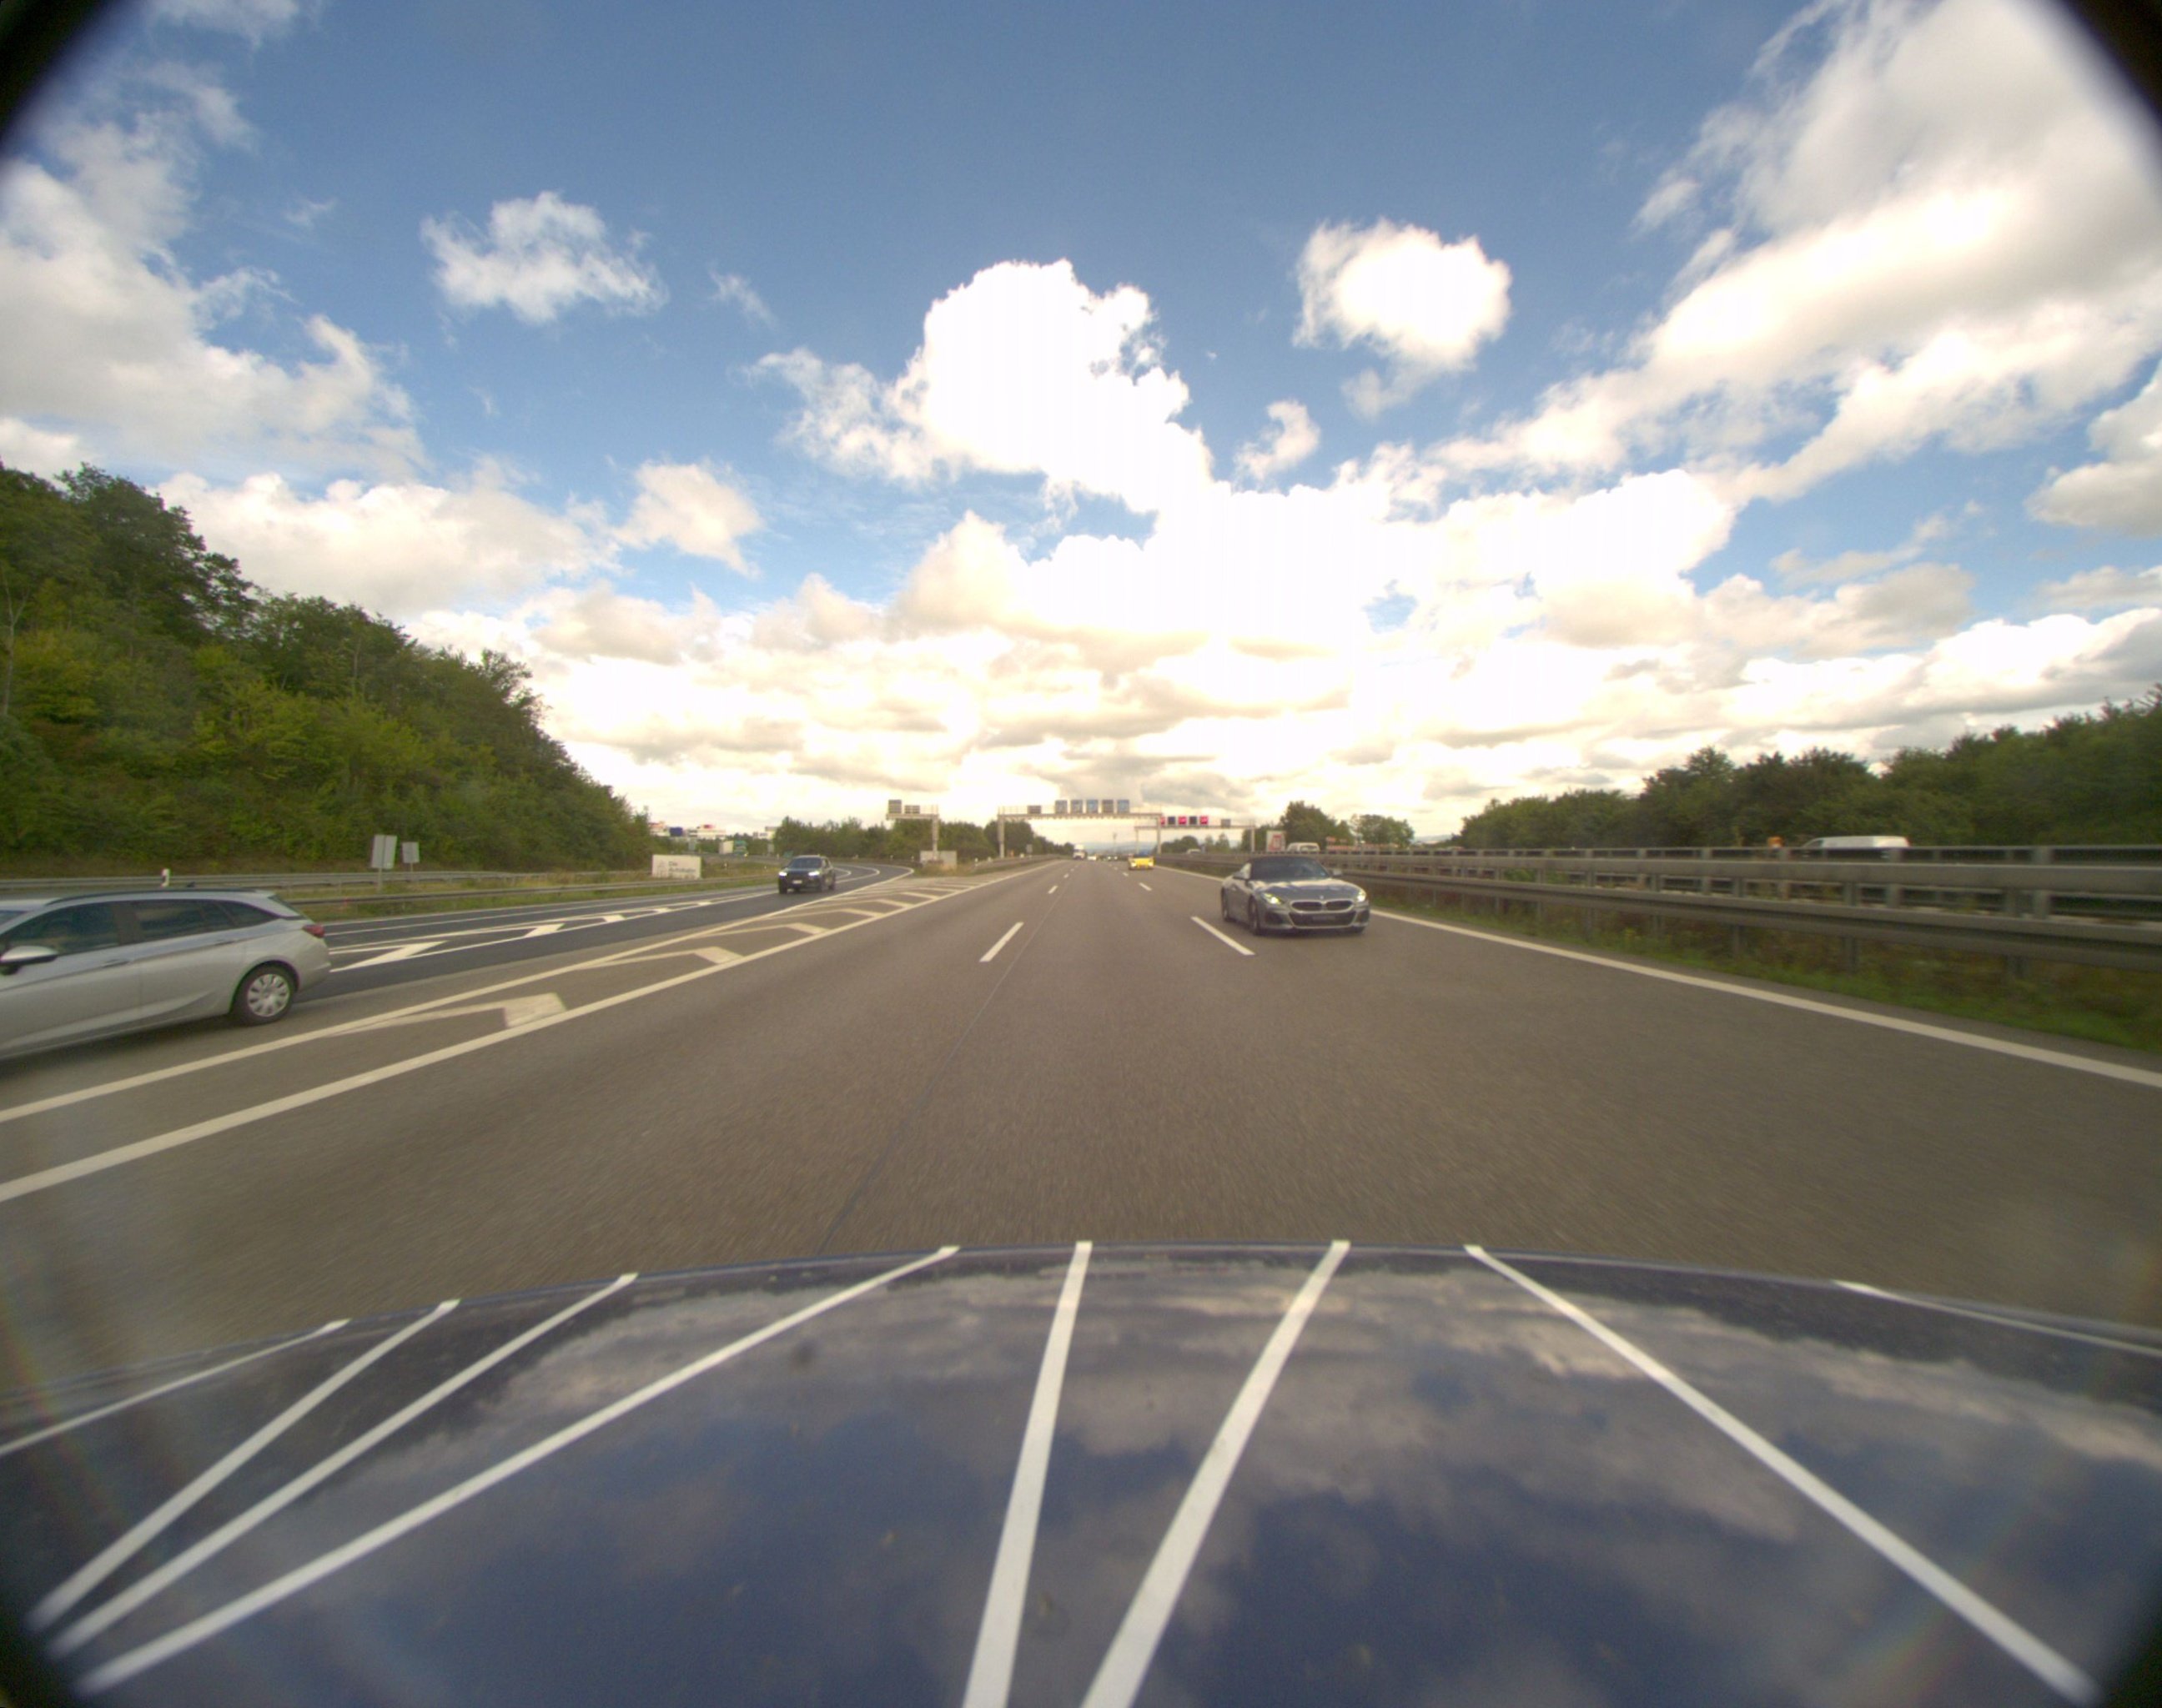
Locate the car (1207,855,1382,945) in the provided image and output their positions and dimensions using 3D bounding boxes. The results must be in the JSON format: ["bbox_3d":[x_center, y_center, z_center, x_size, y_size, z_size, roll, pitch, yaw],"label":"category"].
[{"bbox_3d":[3.714,0.713,14.223,1.878,1.295,4.941,-2,1,0],"label":"car"}]

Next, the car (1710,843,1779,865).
[{"bbox_3d":[43.973,-0.023,50.446,1.545,1.338,3.647,-1,1,4],"label":"car"}]

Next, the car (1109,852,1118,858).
[{"bbox_3d":[6.614,0.183,155.557,1.593,1.307,3.977,0,1,0],"label":"car"}]

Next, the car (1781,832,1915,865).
[{"bbox_3d":[38.704,-0.284,38.572,1.775,1.568,5.011,-1,0,0],"label":"car"}]

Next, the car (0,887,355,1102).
[{"bbox_3d":[-9.151,1.166,6.507,1.688,1.476,4.613,-2,1,-5],"label":"car"}]

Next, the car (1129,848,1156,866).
[{"bbox_3d":[4.879,0.225,60.387,1.811,1.307,4.247,0,1,0],"label":"car"}]

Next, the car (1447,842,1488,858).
[{"bbox_3d":[39.546,-0.420,77.941,1.815,1.626,5.008,-1,0,2],"label":"car"}]

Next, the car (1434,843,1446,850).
[{"bbox_3d":[76.463,-1.597,161.897,1.542,1.338,3.833,-1,1,35],"label":"car"}]

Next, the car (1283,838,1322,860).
[{"bbox_3d":[17.531,-0.378,60.313,1.815,1.626,5.008,-2,1,2],"label":"car"}]

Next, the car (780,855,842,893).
[{"bbox_3d":[-12.890,0.903,36.547,1.877,1.626,4.855,-2,1,-8],"label":"car"}]

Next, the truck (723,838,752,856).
[{"bbox_3d":[-75.736,-1.506,167.439,2.975,3.775,13.427,-2,1,-36],"label":"truck"}]

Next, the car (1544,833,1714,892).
[{"bbox_3d":[17.173,0.209,24.181,1.815,1.626,5.007,-2,1,1],"label":"car"}]

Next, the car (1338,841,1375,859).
[{"bbox_3d":[21.754,-0.316,60.066,1.546,1.338,3.825,-1,1,0],"label":"car"}]

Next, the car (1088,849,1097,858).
[{"bbox_3d":[2.167,-0.142,145.035,1.737,1.608,4.000,-1,1,1],"label":"car"}]
